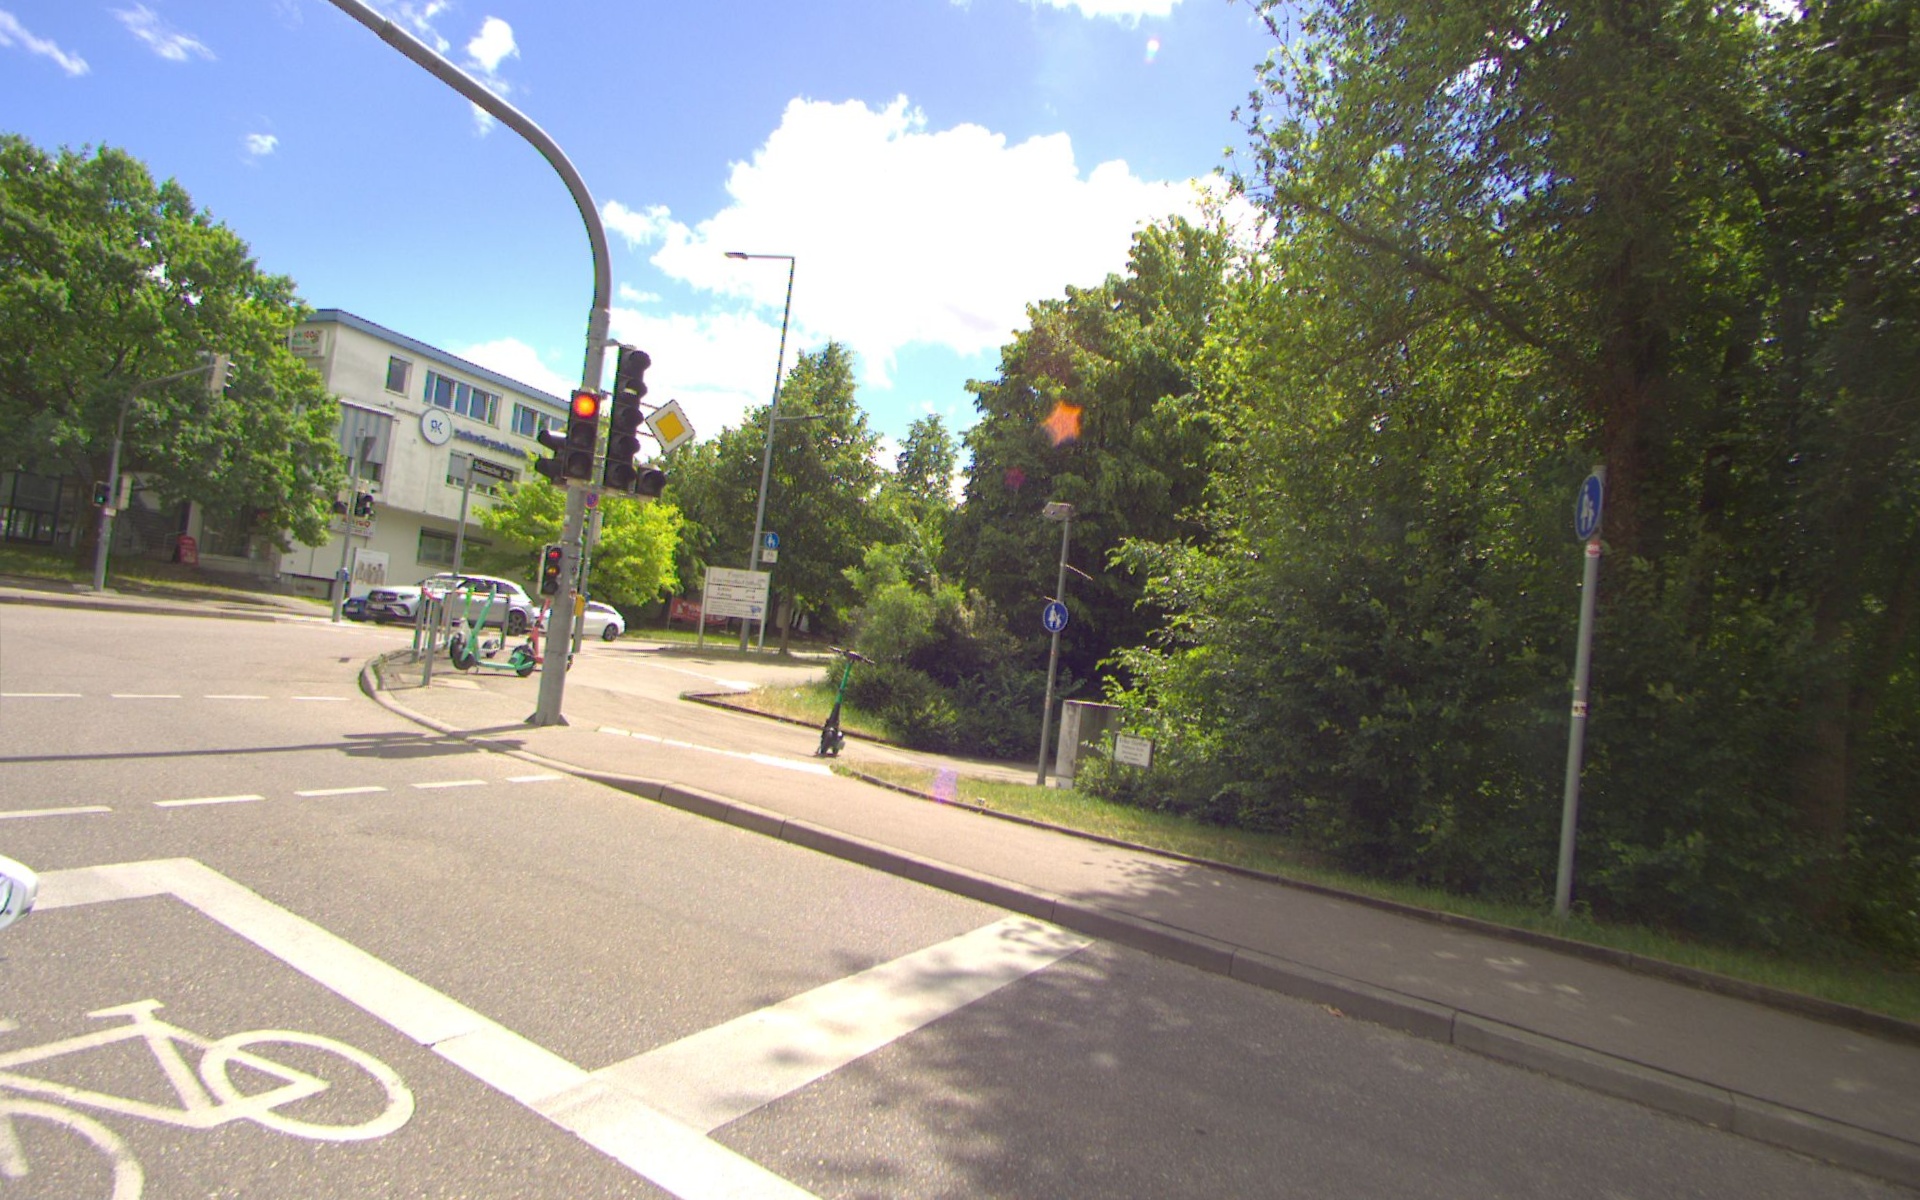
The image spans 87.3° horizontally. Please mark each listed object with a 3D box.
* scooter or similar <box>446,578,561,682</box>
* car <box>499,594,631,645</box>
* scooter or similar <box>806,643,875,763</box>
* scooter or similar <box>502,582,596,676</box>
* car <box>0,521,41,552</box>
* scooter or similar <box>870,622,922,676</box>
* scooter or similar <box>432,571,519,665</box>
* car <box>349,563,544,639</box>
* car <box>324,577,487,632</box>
[{"bbox_3d":[-5.886,0.407,13.007,0.442,1.209,1.169,6,-2,35],"label":"scooter or similar"},{"bbox_3d":[-14.340,0.742,36.795,1.916,1.430,4.407,4,-3,21],"label":"car"},{"bbox_3d":[-1.430,1.238,12.223,0.526,1.304,1.213,11,-5,-2],"label":"scooter or similar"},{"bbox_3d":[-5.930,0.442,14.569,0.471,1.249,1.186,7,-2,18],"label":"scooter or similar"},{"bbox_3d":[-54.424,-3.724,57.288,3.931,1.487,1.748,6,-2,29],"label":"car"},{"bbox_3d":[-1.558,1.206,24.523,0.515,1.196,1.173,6,-2,35],"label":"scooter or similar"},{"bbox_3d":[-7.020,0.279,14.635,0.470,1.249,1.212,7,-1,3],"label":"scooter or similar"},{"bbox_3d":[-14.290,0.089,28.307,1.889,1.609,4.658,4,-3,23],"label":"car"},{"bbox_3d":[-16.803,0.165,30.681,1.879,1.239,3.973,4,-3,23],"label":"car"}]
